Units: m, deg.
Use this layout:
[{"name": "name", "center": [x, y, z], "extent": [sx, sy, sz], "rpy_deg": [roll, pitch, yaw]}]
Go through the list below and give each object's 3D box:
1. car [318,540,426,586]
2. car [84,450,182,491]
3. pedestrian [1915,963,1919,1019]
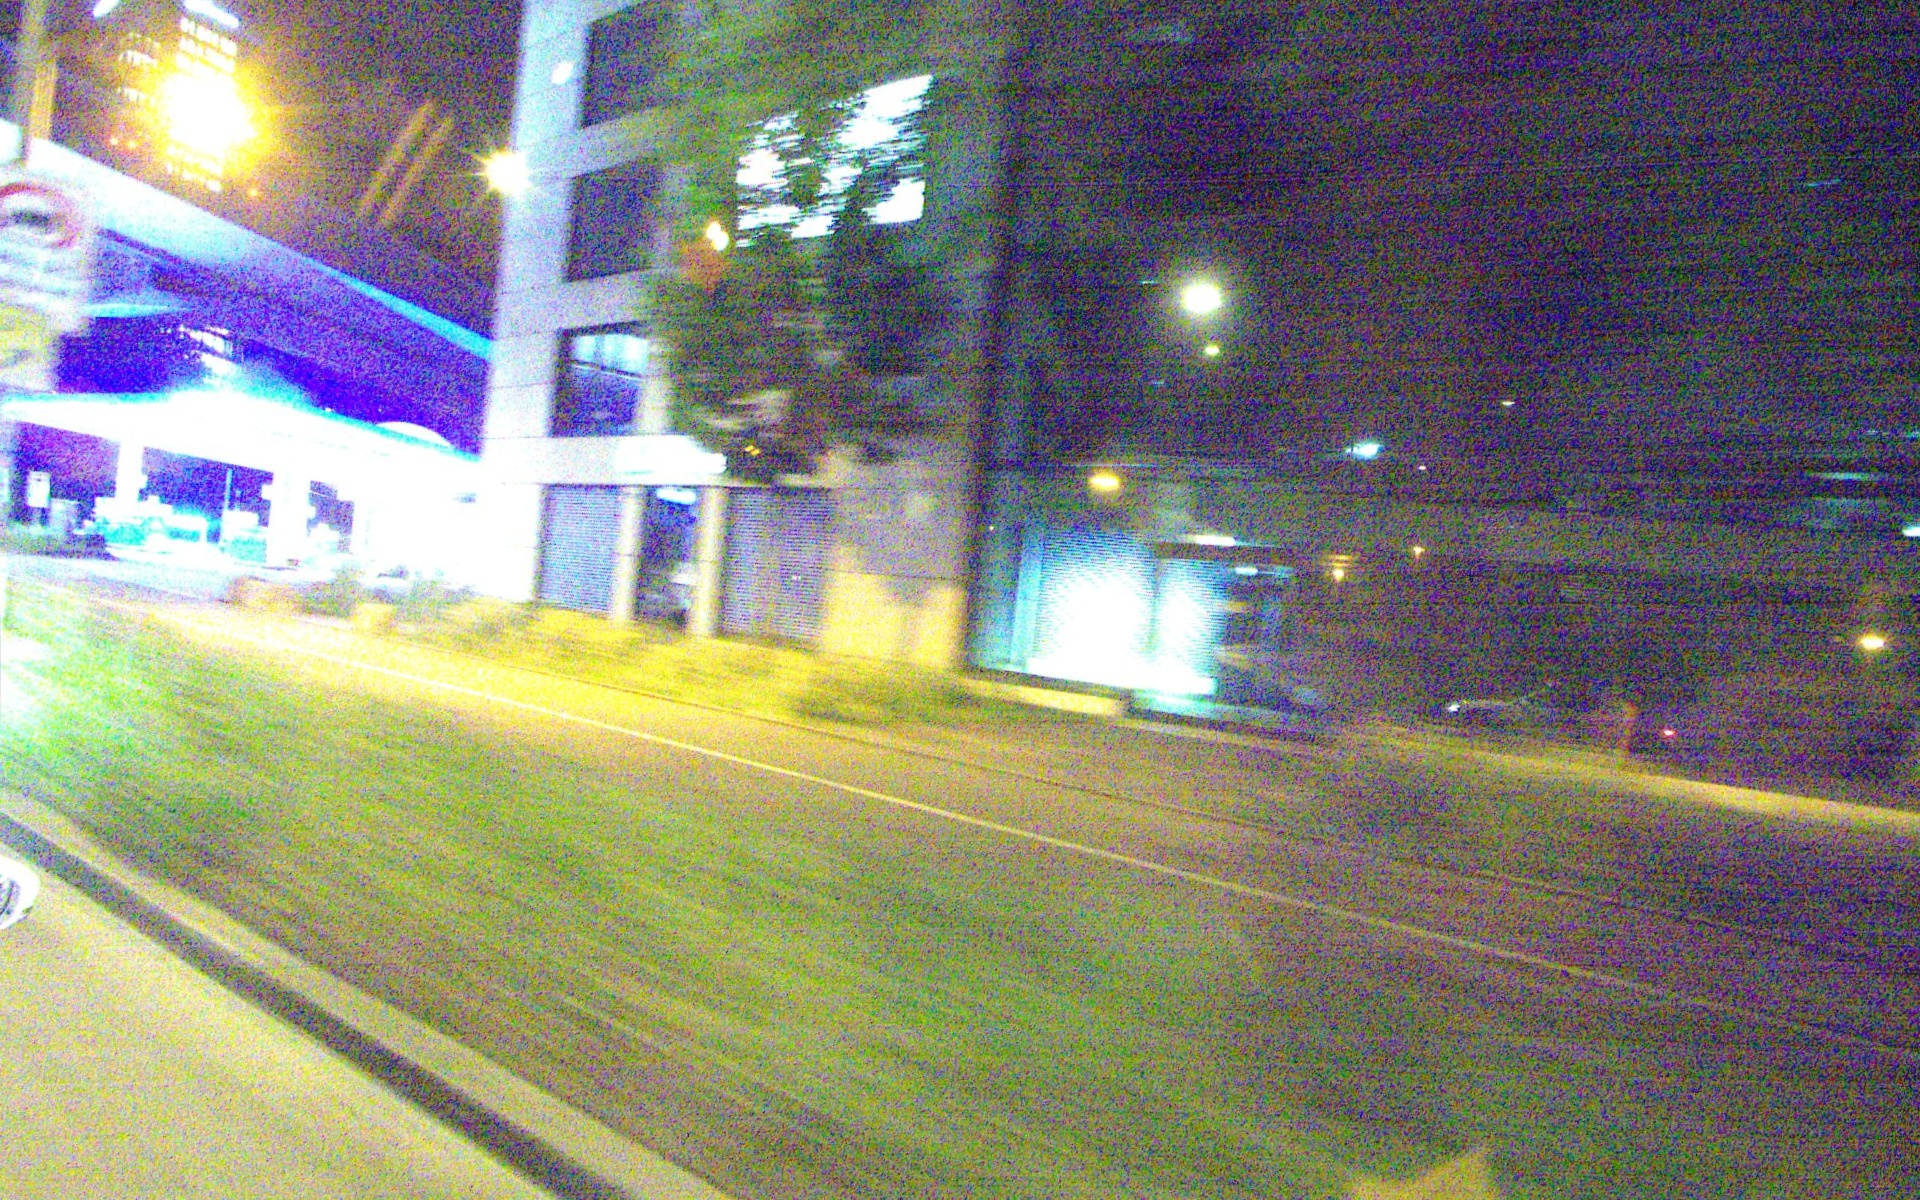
[{"name": "car", "center": [-24.960, -1.583, 42.692], "extent": [4.259, 1.379, 1.931], "rpy_deg": [6, -1, 28]}, {"name": "car", "center": [-55.471, -8.689, 67.541], "extent": [1.966, 1.934, 4.583], "rpy_deg": [7, 0, 28]}, {"name": "pedestrian", "center": [4.777, 1.004, 4.296], "extent": [0.782, 1.938, 0.803], "rpy_deg": [8, 3, 41]}]
